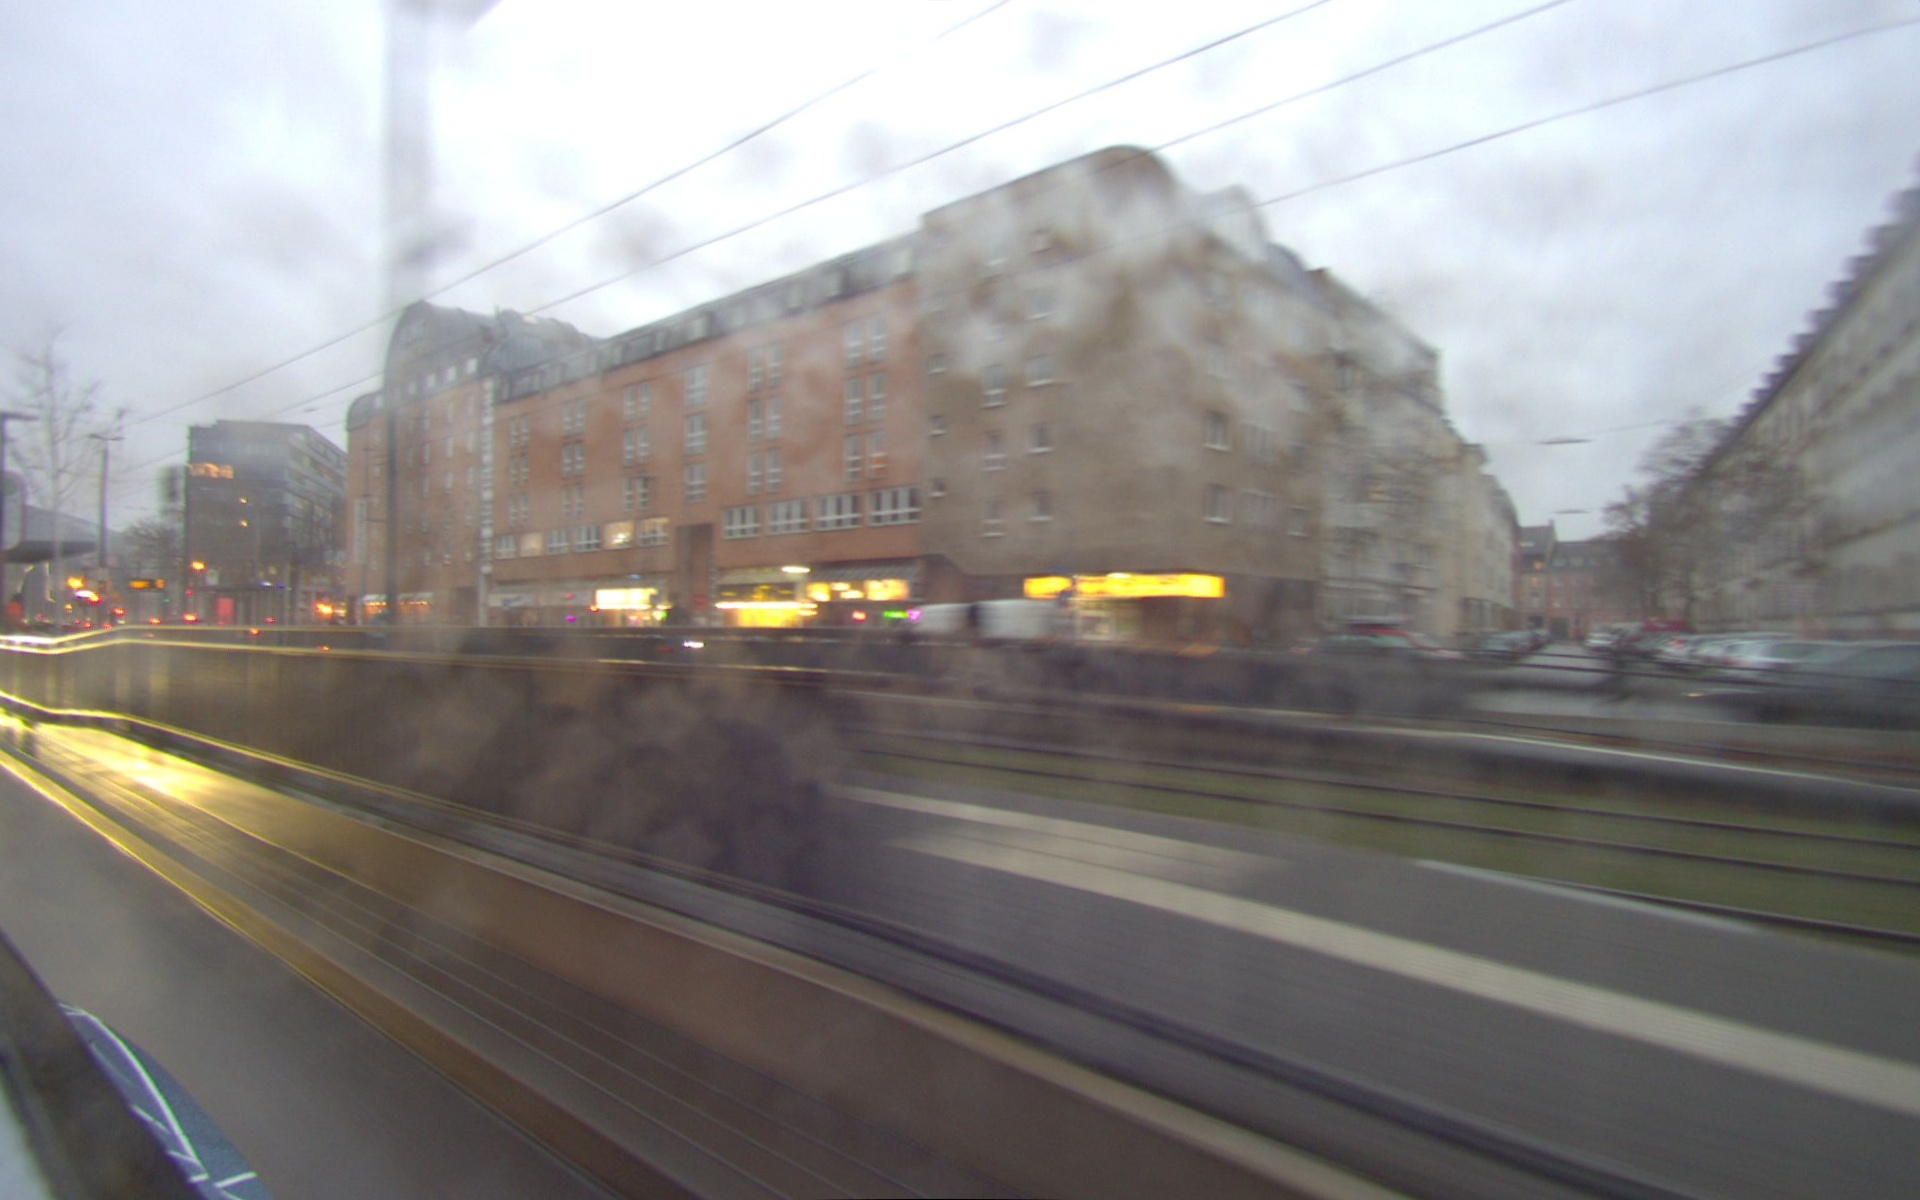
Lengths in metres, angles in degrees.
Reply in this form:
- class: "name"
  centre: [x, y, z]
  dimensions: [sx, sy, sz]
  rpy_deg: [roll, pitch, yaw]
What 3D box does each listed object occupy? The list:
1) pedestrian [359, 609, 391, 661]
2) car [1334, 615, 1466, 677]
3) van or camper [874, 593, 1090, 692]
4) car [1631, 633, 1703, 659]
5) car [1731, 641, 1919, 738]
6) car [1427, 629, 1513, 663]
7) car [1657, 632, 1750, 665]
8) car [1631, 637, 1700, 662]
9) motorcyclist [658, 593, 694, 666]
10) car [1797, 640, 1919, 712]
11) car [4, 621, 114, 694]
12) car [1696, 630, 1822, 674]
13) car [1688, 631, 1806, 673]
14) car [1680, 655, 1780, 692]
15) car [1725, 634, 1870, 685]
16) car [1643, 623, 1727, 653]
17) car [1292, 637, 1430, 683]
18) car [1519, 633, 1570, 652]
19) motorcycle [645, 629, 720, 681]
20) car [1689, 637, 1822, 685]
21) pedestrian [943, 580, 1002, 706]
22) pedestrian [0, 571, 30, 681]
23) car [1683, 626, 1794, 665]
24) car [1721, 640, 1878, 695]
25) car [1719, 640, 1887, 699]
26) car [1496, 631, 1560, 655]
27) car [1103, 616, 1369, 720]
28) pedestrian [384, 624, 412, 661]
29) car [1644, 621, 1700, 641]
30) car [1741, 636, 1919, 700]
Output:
- class: "pedestrian"
  centre: [-17.808, 1.061, 30.815]
  dimensions: [0.756, 1.536, 0.628]
  rpy_deg: [-1, 0, 41]
- class: "car"
  centre: [15.455, 1.590, 35.615]
  dimensions: [4.127, 2.050, 1.730]
  rpy_deg: [-1, -2, 30]
- class: "van or camper"
  centre: [0.499, 1.206, 31.136]
  dimensions: [2.740, 2.702, 6.762]
  rpy_deg: [0, 0, -42]
- class: "car"
  centre: [40.198, 2.584, 57.602]
  dimensions: [3.310, 1.436, 1.441]
  rpy_deg: [-1, -2, 36]
- class: "car"
  centre: [11.785, 1.090, 12.630]
  dimensions: [3.422, 1.132, 1.440]
  rpy_deg: [-1, -2, 38]
- class: "car"
  centre: [23.096, 2.066, 45.874]
  dimensions: [3.310, 1.436, 1.441]
  rpy_deg: [-1, -2, 36]
- class: "car"
  centre: [33.394, 2.170, 45.537]
  dimensions: [3.310, 1.436, 1.441]
  rpy_deg: [-1, -2, 36]
- class: "car"
  centre: [41.824, 2.911, 60.005]
  dimensions: [3.310, 1.436, 1.441]
  rpy_deg: [-1, -2, 36]
- class: "motorcyclist"
  centre: [-5.935, 0.607, 21.158]
  dimensions: [0.555, 1.507, 0.494]
  rpy_deg: [-1, 0, 36]
- class: "car"
  centre: [20.634, 1.643, 22.065]
  dimensions: [3.412, 1.490, 1.444]
  rpy_deg: [-1, -2, 29]
- class: "car"
  centre: [-19.696, 1.202, 22.101]
  dimensions: [3.134, 1.453, 1.416]
  rpy_deg: [-1, 0, 41]
- class: "car"
  centre: [27.378, 1.746, 34.797]
  dimensions: [3.310, 1.436, 1.441]
  rpy_deg: [-1, -2, 36]
- class: "car"
  centre: [28.669, 1.873, 36.987]
  dimensions: [3.310, 1.436, 1.441]
  rpy_deg: [-1, -2, 36]
- class: "car"
  centre: [32.609, 3.079, 42.950]
  dimensions: [3.310, 1.436, 1.441]
  rpy_deg: [-1, -2, 36]
- class: "car"
  centre: [25.559, 1.789, 31.025]
  dimensions: [3.310, 1.436, 1.441]
  rpy_deg: [-1, -2, 36]
- class: "car"
  centre: [35.724, 1.883, 49.944]
  dimensions: [3.310, 1.436, 1.441]
  rpy_deg: [-1, -2, 36]
- class: "car"
  centre: [13.376, 1.958, 33.792]
  dimensions: [4.127, 1.441, 1.590]
  rpy_deg: [-1, -2, 30]
- class: "car"
  centre: [45.908, 3.351, 79.511]
  dimensions: [3.310, 1.436, 1.441]
  rpy_deg: [-1, -2, 36]
- class: "motorcycle"
  centre: [-5.775, 1.129, 21.020]
  dimensions: [1.804, 1.016, 0.508]
  rpy_deg: [-1, 0, 37]
- class: "car"
  centre: [25.779, 1.951, 32.926]
  dimensions: [3.310, 1.436, 1.441]
  rpy_deg: [-1, -2, 36]
- class: "pedestrian"
  centre: [0.173, 0.611, 14.854]
  dimensions: [0.811, 1.793, 0.798]
  rpy_deg: [-1, 0, -1]
- class: "pedestrian"
  centre: [-18.772, 0.505, 19.729]
  dimensions: [0.803, 2.126, 0.802]
  rpy_deg: [-1, -2, 38]
- class: "car"
  centre: [29.813, 1.737, 38.881]
  dimensions: [3.310, 1.436, 1.441]
  rpy_deg: [-1, -2, 36]
- class: "car"
  centre: [23.796, 1.884, 28.838]
  dimensions: [3.310, 1.436, 1.441]
  rpy_deg: [-1, -2, 36]
- class: "car"
  centre: [22.276, 1.804, 26.909]
  dimensions: [3.310, 1.436, 1.441]
  rpy_deg: [-1, -2, 36]
- class: "car"
  centre: [35.095, 2.642, 62.528]
  dimensions: [3.310, 1.436, 1.441]
  rpy_deg: [-1, -2, 36]
- class: "car"
  centre: [4.124, 0.938, 15.366]
  dimensions: [3.543, 1.364, 1.665]
  rpy_deg: [-1, -1, 40]
- class: "pedestrian"
  centre: [-17.626, 1.324, 31.717]
  dimensions: [0.591, 1.111, 0.600]
  rpy_deg: [-1, 0, 41]
- class: "car"
  centre: [51.890, 2.286, 73.800]
  dimensions: [3.310, 1.436, 1.441]
  rpy_deg: [-1, -2, 36]
- class: "car"
  centre: [21.337, 1.626, 24.876]
  dimensions: [3.310, 1.436, 1.441]
  rpy_deg: [-1, -2, 36]
